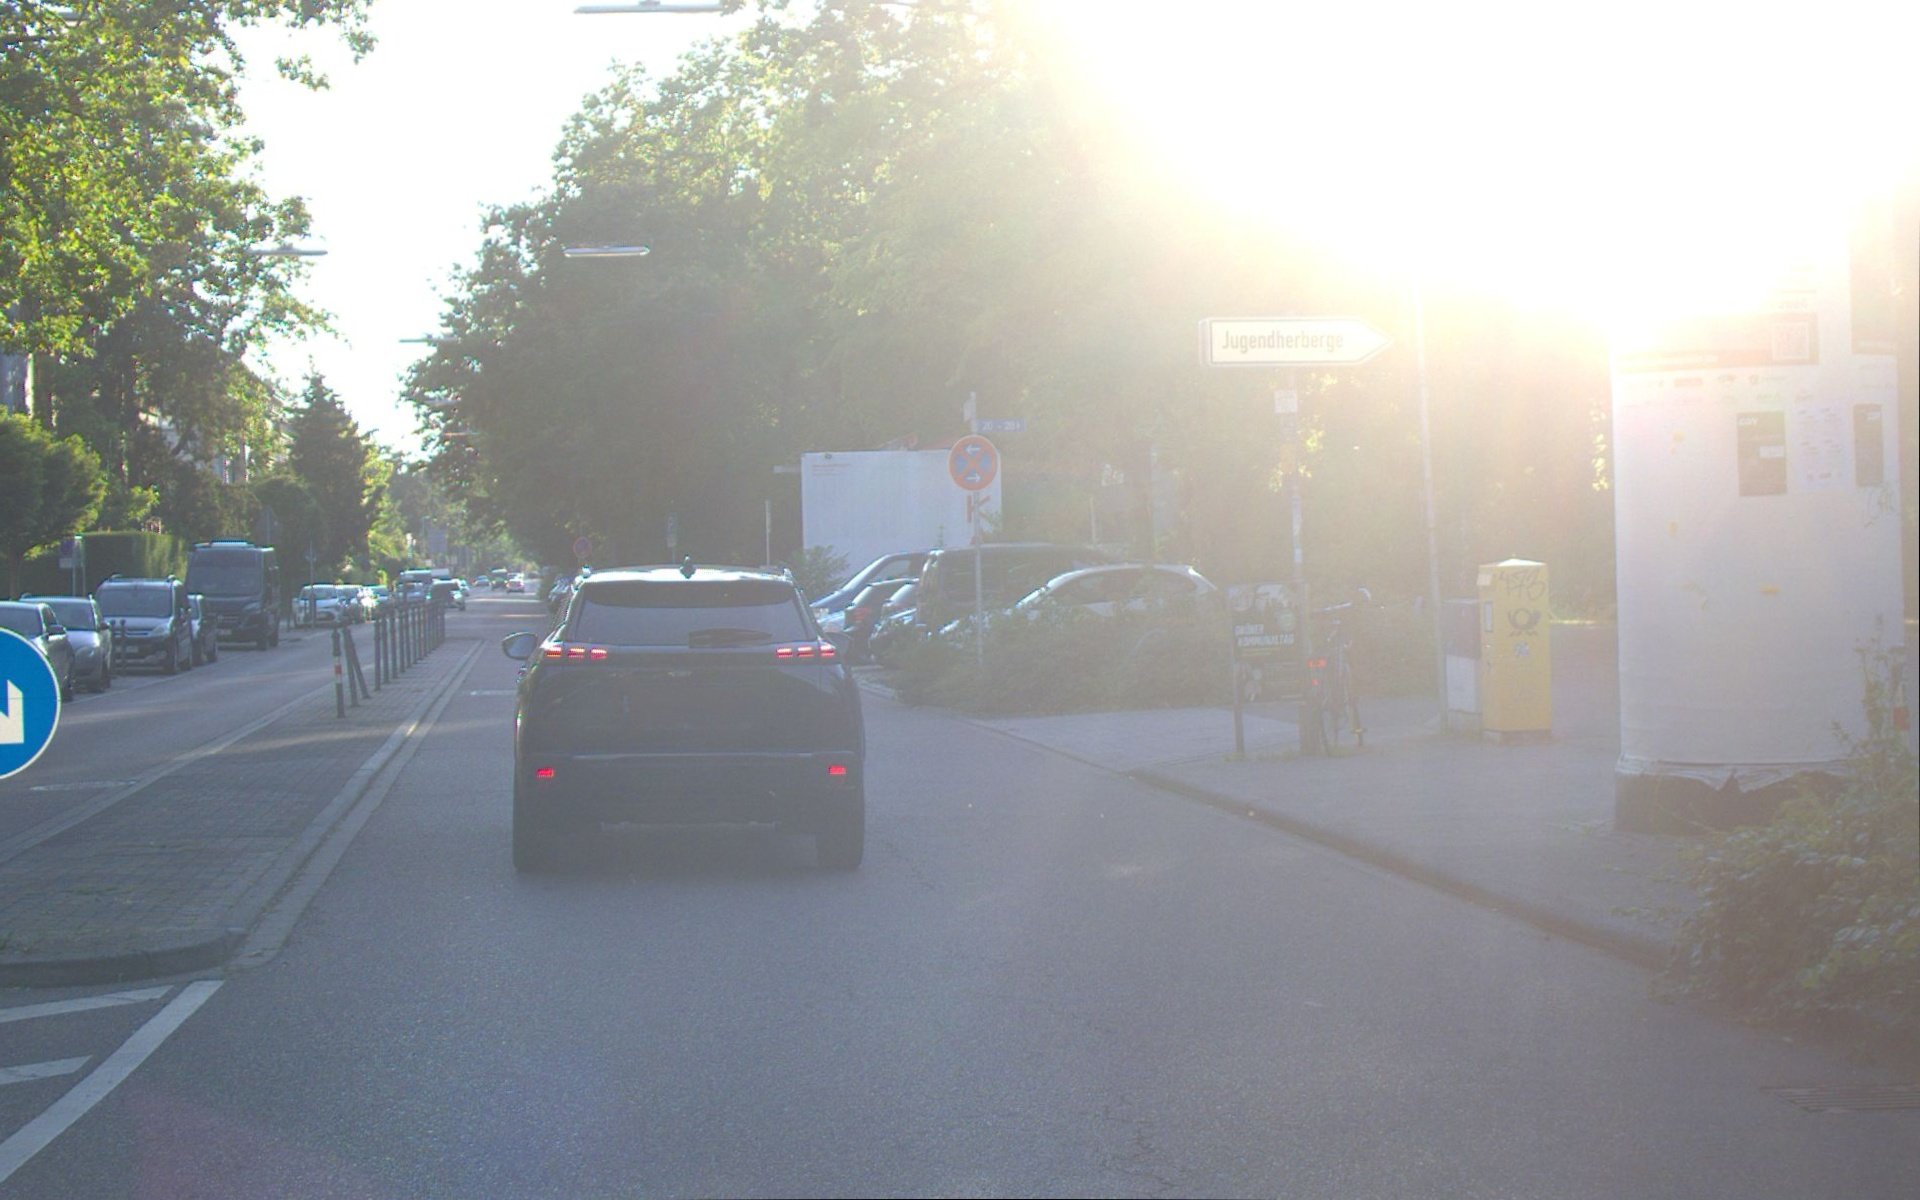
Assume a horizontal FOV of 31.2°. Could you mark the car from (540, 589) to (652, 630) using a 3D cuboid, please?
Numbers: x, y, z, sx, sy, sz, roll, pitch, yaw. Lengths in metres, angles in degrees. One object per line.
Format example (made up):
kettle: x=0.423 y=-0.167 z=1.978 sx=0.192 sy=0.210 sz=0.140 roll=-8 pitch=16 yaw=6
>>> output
car: x=-14.462 y=0.376 z=136.438 sx=4.242 sy=1.444 sz=2.022 roll=-3 pitch=0 yaw=-9

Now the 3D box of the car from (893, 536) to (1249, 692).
car: x=1.437 y=0.177 z=45.518 sx=4.362 sy=1.774 sz=1.921 roll=-3 pitch=0 yaw=-8

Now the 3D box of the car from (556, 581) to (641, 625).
car: x=-17.681 y=0.142 z=168.108 sx=3.986 sy=2.082 sz=1.758 roll=-1 pitch=0 yaw=-12

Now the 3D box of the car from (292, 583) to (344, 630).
car: x=-22.418 y=0.226 z=120.049 sx=1.613 sy=1.510 sz=3.713 roll=-3 pitch=0 yaw=-9

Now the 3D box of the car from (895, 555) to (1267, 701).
car: x=1.493 y=0.336 z=43.258 sx=4.362 sy=1.548 sz=1.728 roll=-3 pitch=0 yaw=-8

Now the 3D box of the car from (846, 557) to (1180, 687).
car: x=0.712 y=0.294 z=48.178 sx=4.362 sy=1.548 sz=1.876 roll=-3 pitch=0 yaw=-8

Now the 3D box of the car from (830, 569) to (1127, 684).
car: x=0.263 y=0.405 z=53.957 sx=4.362 sy=1.532 sz=1.921 roll=-3 pitch=0 yaw=-8

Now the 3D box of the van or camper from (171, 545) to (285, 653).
van or camper: x=-17.963 y=-0.014 z=84.666 sx=2.229 sy=2.536 sz=7.081 roll=0 pitch=0 yaw=-8

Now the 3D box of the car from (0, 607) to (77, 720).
car: x=-13.439 y=0.854 z=48.016 sx=1.617 sy=1.491 sz=4.378 roll=-1 pitch=0 yaw=-7

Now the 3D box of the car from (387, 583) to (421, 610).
car: x=-33.438 y=-0.201 z=206.724 sx=1.899 sy=1.568 sz=4.001 roll=-1 pitch=0 yaw=-8

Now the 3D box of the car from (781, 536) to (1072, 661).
car: x=-0.622 y=-0.033 z=61.015 sx=4.851 sy=1.909 sz=1.916 roll=-3 pitch=0 yaw=-8

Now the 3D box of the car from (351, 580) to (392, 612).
car: x=-27.852 y=-0.205 z=162.778 sx=1.752 sy=1.409 sz=3.765 roll=-3 pitch=1 yaw=-9

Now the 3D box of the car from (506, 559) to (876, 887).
car: x=-1.542 y=0.567 z=18.524 sx=1.771 sy=1.563 sz=4.109 roll=0 pitch=0 yaw=-7

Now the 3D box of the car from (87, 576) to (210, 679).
car: x=-15.404 y=0.502 z=65.437 sx=1.777 sy=1.859 sz=4.333 roll=1 pitch=0 yaw=-7

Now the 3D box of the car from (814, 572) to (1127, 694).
car: x=0.129 y=0.475 z=51.312 sx=4.362 sy=1.532 sz=1.921 roll=-3 pitch=0 yaw=-8

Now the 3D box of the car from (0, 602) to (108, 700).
car: x=-14.596 y=0.783 z=55.021 sx=1.718 sy=1.491 sz=4.378 roll=-1 pitch=0 yaw=-12

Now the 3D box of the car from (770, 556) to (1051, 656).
car: x=-0.935 y=0.104 z=63.544 sx=4.925 sy=1.548 sz=1.916 roll=-3 pitch=0 yaw=-8

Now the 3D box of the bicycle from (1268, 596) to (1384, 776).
bicycle: x=2.671 y=0.594 z=24.897 sx=0.492 sy=1.144 sz=2.284 roll=-4 pitch=1 yaw=13

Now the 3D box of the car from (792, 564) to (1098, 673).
car: x=-0.284 y=0.298 z=58.556 sx=4.925 sy=1.548 sz=1.916 roll=-3 pitch=0 yaw=-8
